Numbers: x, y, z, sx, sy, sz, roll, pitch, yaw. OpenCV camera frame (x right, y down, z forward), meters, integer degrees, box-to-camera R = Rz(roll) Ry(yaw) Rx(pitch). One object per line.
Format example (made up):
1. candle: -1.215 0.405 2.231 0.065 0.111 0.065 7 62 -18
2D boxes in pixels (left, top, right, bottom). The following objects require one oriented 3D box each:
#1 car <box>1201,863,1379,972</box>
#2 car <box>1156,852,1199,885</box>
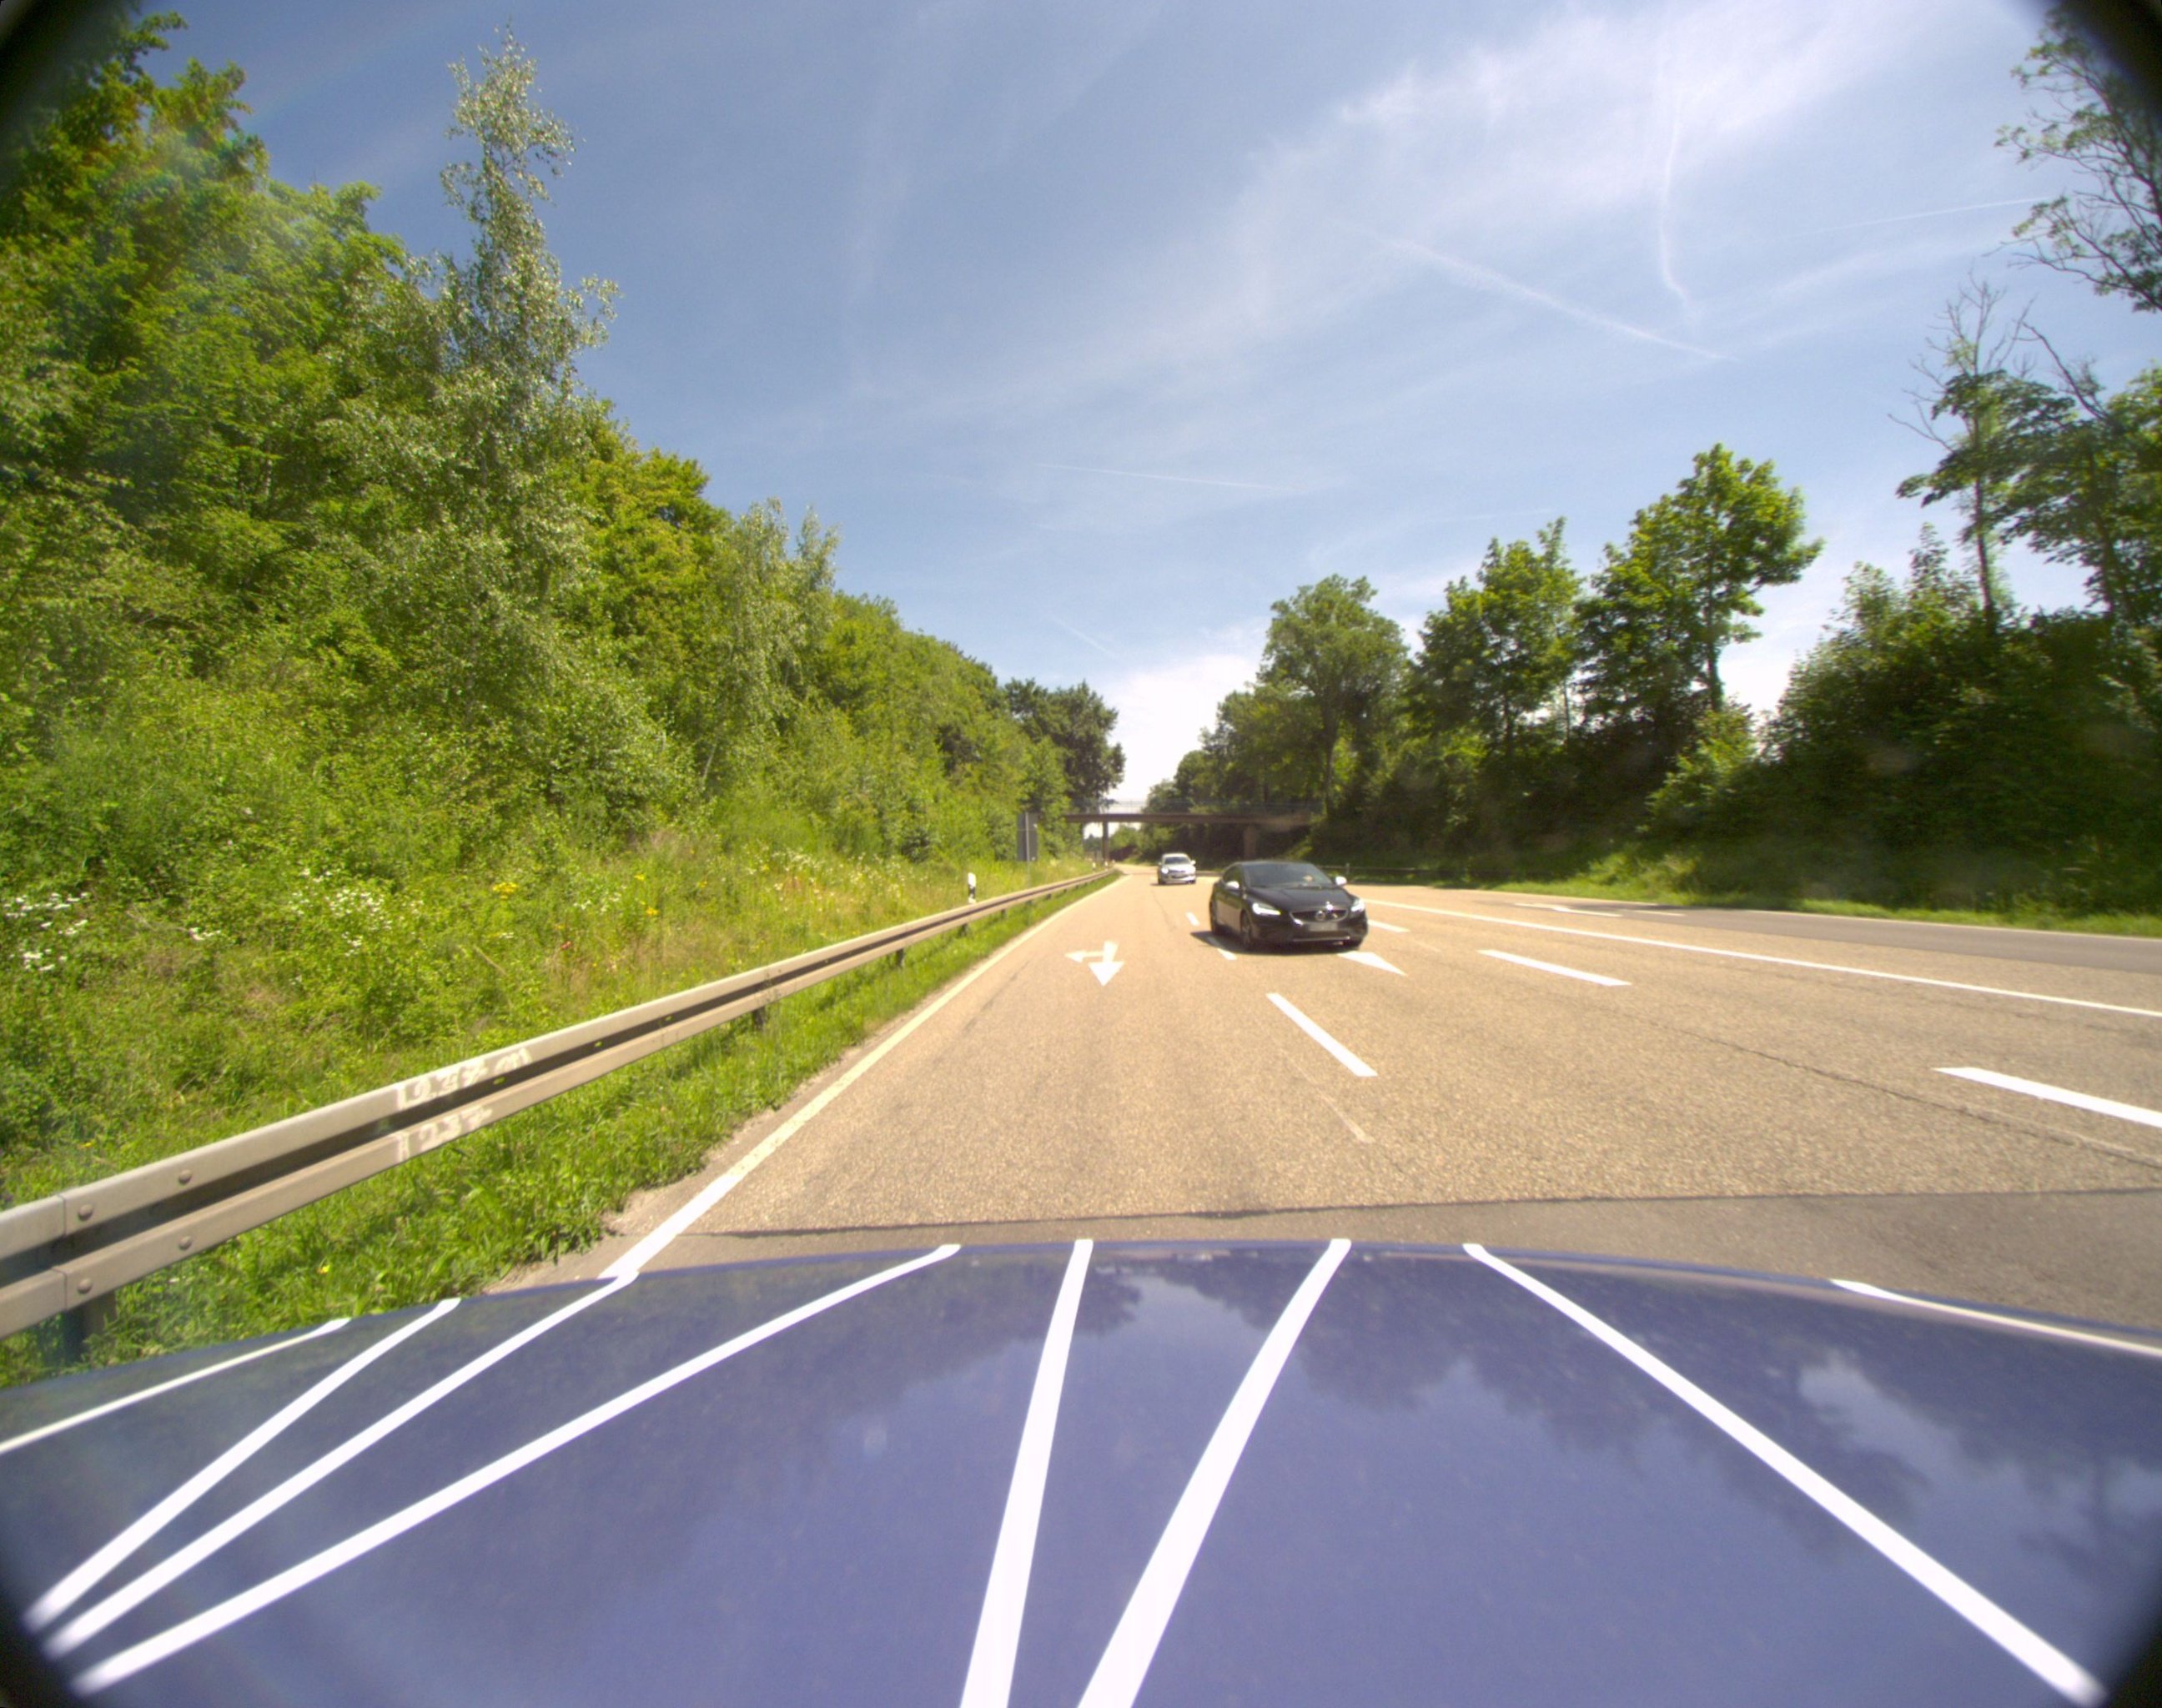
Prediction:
1. car: 3.279 0.916 12.844 1.690 1.390 4.402 -1 1 -1
2. car: 5.250 0.788 41.809 1.809 1.660 4.292 -2 0 1
